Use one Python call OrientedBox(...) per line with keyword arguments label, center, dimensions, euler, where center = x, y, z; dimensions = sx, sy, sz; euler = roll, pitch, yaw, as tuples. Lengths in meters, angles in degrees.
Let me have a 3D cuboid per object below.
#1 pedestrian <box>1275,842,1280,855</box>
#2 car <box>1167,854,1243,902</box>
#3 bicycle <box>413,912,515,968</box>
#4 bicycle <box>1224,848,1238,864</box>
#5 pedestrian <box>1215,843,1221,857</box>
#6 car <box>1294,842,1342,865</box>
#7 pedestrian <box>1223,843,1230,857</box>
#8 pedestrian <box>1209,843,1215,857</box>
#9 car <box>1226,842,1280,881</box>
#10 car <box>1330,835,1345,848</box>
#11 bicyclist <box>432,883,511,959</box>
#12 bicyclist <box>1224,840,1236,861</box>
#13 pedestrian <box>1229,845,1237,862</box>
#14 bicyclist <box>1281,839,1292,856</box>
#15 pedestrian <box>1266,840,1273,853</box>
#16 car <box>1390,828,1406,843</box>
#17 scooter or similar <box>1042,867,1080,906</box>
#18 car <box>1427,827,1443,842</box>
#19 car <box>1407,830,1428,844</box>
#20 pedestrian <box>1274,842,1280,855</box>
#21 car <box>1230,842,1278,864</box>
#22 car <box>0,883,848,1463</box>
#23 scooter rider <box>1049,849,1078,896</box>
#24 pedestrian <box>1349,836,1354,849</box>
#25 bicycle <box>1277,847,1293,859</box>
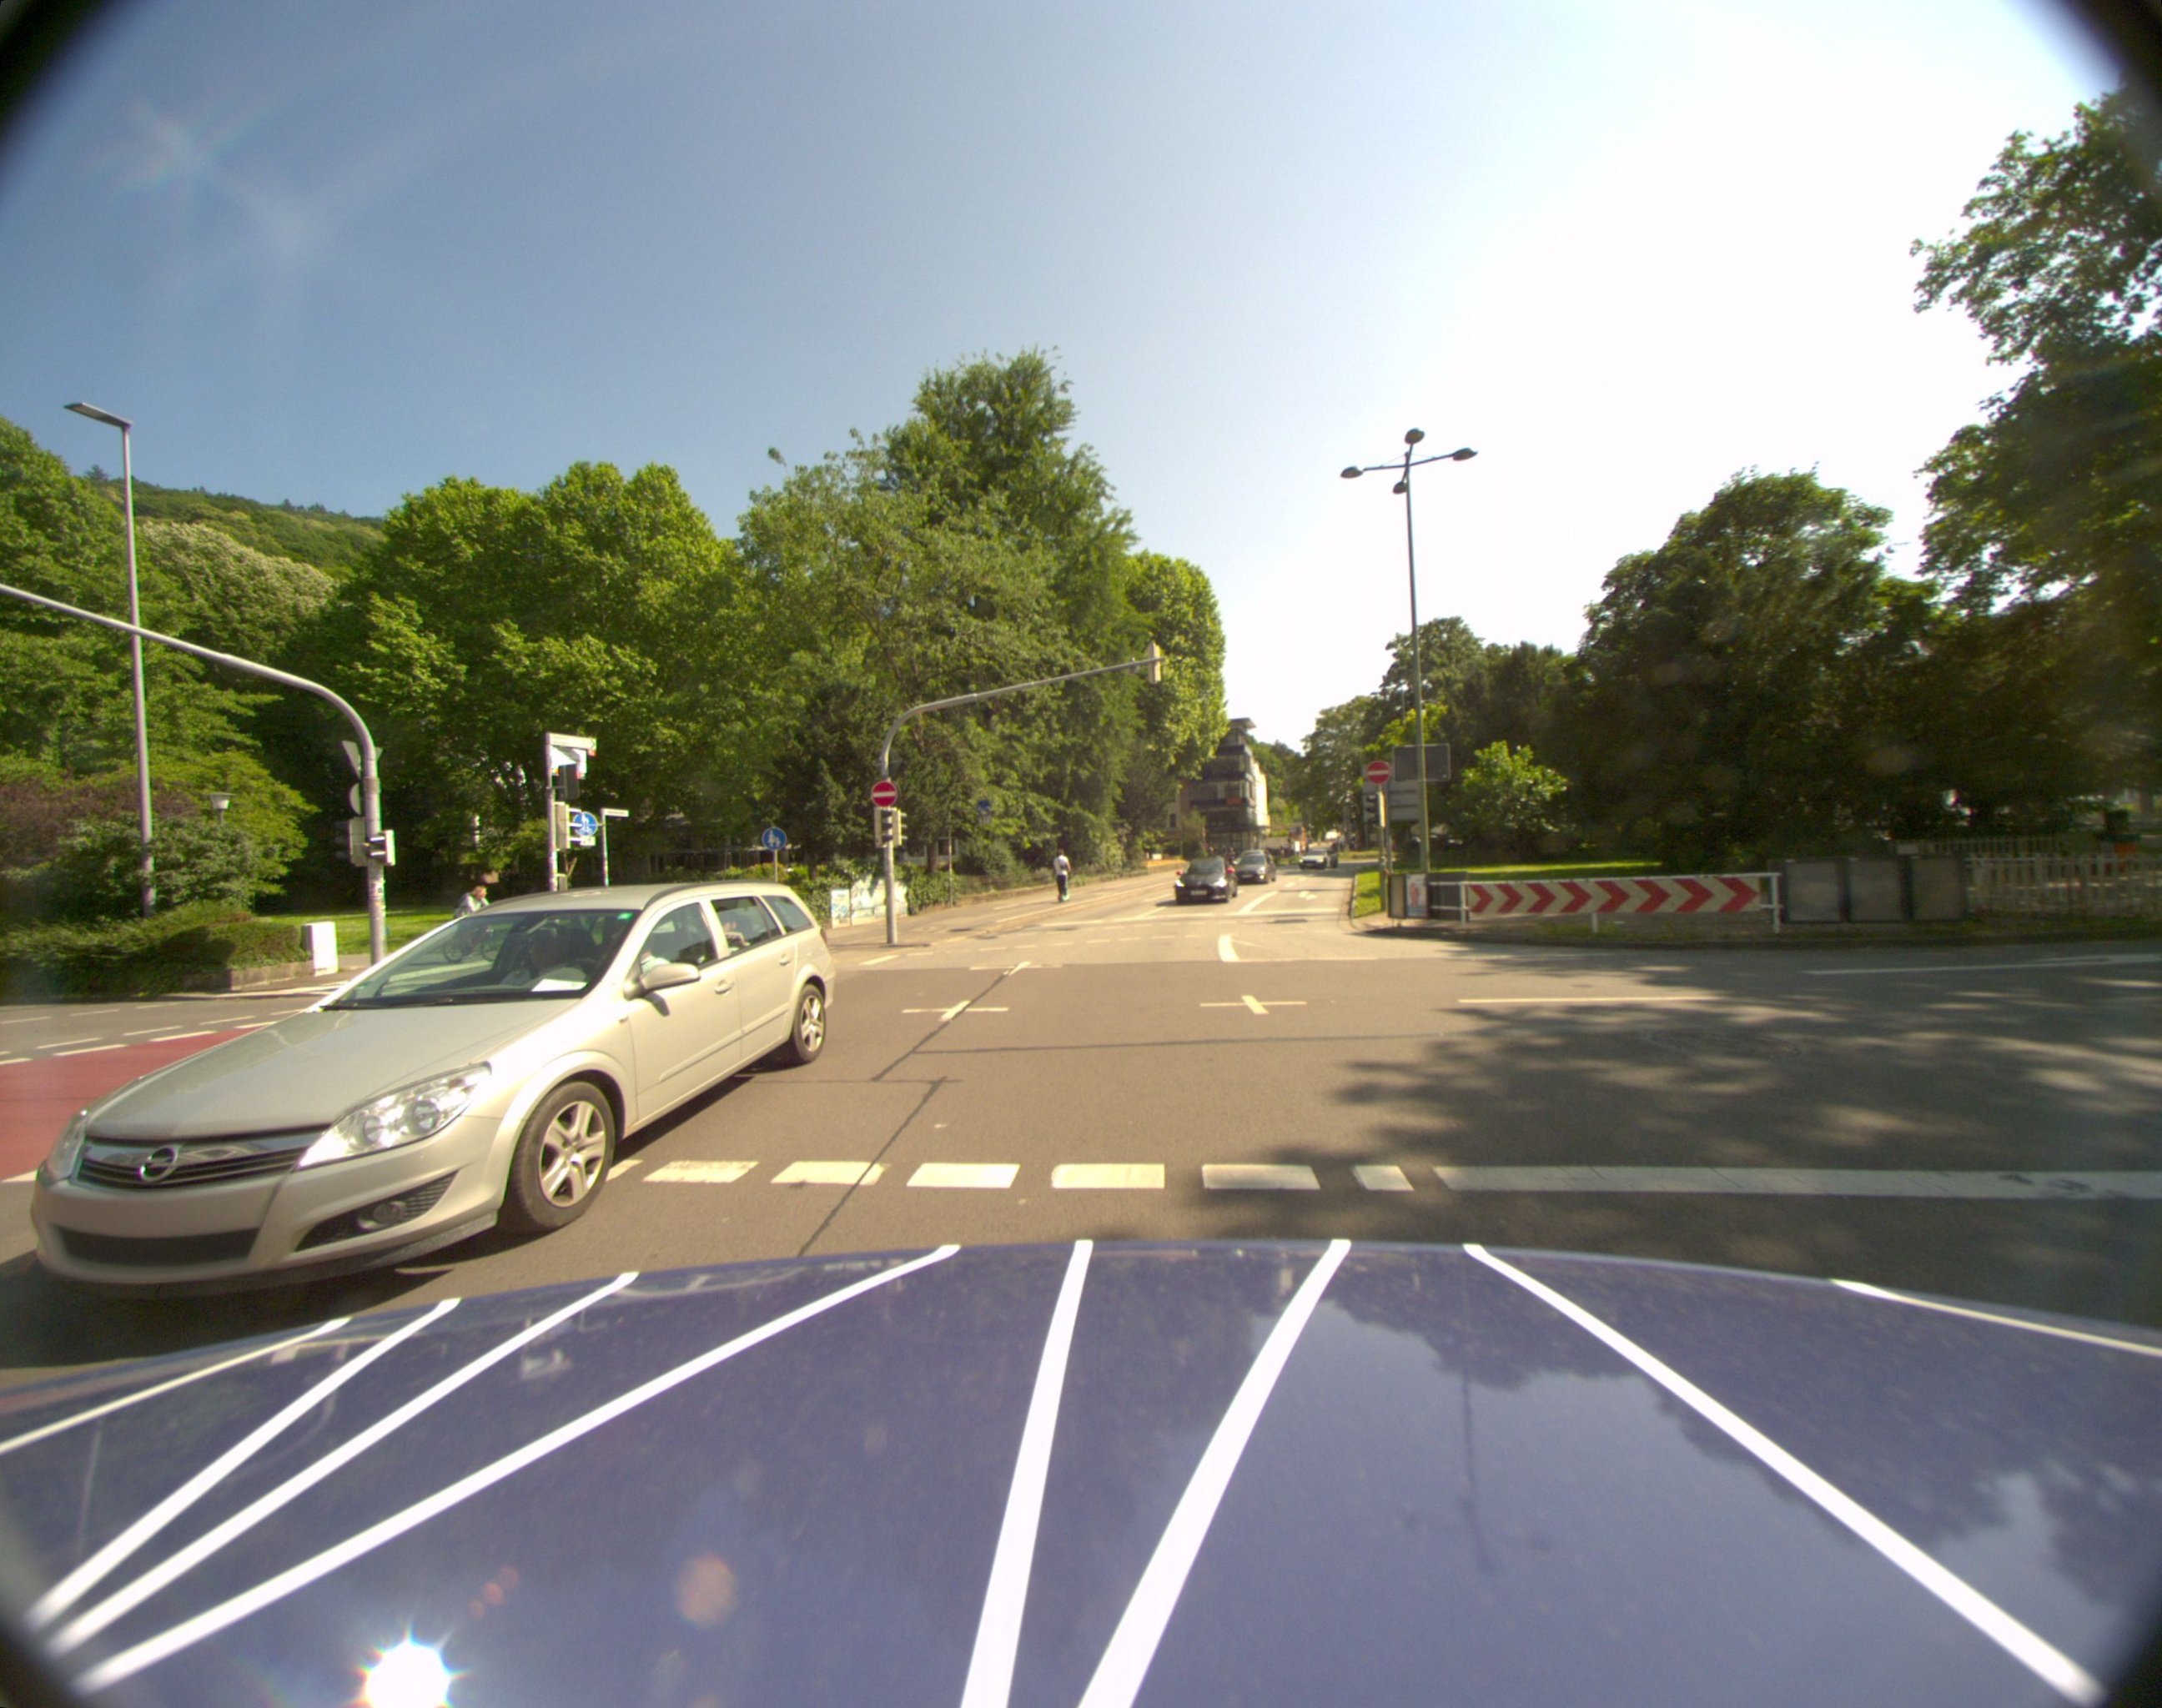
OrientedBox(label="pedestrian", center=(27.553, -0.756, 106.409), dimensions=(0.601, 1.695, 0.605), euler=(-2, 1, 20))
OrientedBox(label="car", center=(4.411, 0.782, 26.481), dimensions=(1.808, 1.443, 3.959), euler=(-2, 1, 21))
OrientedBox(label="bicycle", center=(-13.594, 1.896, 16.761), dimensions=(1.675, 1.114, 0.784), euler=(-2, 1, 10))
OrientedBox(label="bicycle", center=(11.790, 0.142, 59.610), dimensions=(0.758, 1.114, 2.004), euler=(-2, 2, 19))
OrientedBox(label="pedestrian", center=(17.140, -0.461, 95.193), dimensions=(0.603, 1.695, 0.691), euler=(-2, 1, 20))
OrientedBox(label="car", center=(16.946, -0.045, 54.217), dimensions=(1.937, 1.421, 4.558), euler=(-2, 0, 35))
OrientedBox(label="pedestrian", center=(17.899, -0.542, 93.350), dimensions=(0.700, 1.695, 0.603), euler=(-3, 1, 19))
OrientedBox(label="pedestrian", center=(16.156, -0.542, 93.776), dimensions=(0.652, 1.695, 0.647), euler=(-3, 1, 13))
OrientedBox(label="car", center=(8.547, 0.326, 37.491), dimensions=(1.886, 1.674, 4.147), euler=(-1, 2, 22))
OrientedBox(label="car", center=(35.987, -1.734, 106.691), dimensions=(1.848, 1.777, 4.005), euler=(-3, 0, 19))
OrientedBox(label="bicyclist", center=(-13.465, 1.474, 16.805), dimensions=(0.942, 1.566, 0.868), euler=(-2, 2, 8))
OrientedBox(label="bicyclist", center=(11.691, -0.278, 59.431), dimensions=(0.765, 1.627, 0.944), euler=(-2, 2, 18))
OrientedBox(label="pedestrian", center=(15.495, -0.058, 77.597), dimensions=(0.710, 1.663, 0.535), euler=(-2, 1, 17))
OrientedBox(label="bicyclist", center=(19.834, -0.637, 73.389), dimensions=(0.709, 1.603, 0.733), euler=(-2, 1, 37))
OrientedBox(label="pedestrian", center=(24.387, -0.933, 98.357), dimensions=(0.601, 1.695, 0.605), euler=(-3, 1, 25))
OrientedBox(label="car", center=(43.616, -2.519, 104.559), dimensions=(1.847, 2.002, 4.006), euler=(-2, 1, 23))
OrientedBox(label="scooter or similar", center=(-0.709, 1.169, 27.719), dimensions=(0.819, 1.291, 1.698), euler=(-2, 1, 18))
OrientedBox(label="car", center=(48.615, -2.698, 104.324), dimensions=(1.847, 2.002, 4.006), euler=(-2, 1, 23))
OrientedBox(label="car", center=(41.880, -2.079, 94.547), dimensions=(1.848, 1.652, 4.004), euler=(-2, 1, 17))
OrientedBox(label="pedestrian", center=(26.743, -0.719, 103.669), dimensions=(0.601, 1.695, 0.605), euler=(-2, 1, 20))
OrientedBox(label="car", center=(12.202, -0.097, 53.366), dimensions=(1.938, 1.421, 4.557), euler=(-2, 0, 31))
OrientedBox(label="car", center=(-3.000, 1.037, 4.428), dimensions=(1.711, 1.513, 4.407), euler=(-3, 0, 2))
OrientedBox(label="scooter rider", center=(-0.649, 0.679, 27.970), dimensions=(0.822, 1.662, 0.710), euler=(-2, 2, 18))
OrientedBox(label="pedestrian", center=(38.146, -1.629, 107.216), dimensions=(0.601, 1.695, 0.605), euler=(-2, 1, 27))
OrientedBox(label="bicycle", center=(19.722, -0.128, 73.417), dimensions=(0.709, 1.048, 2.211), euler=(-2, 1, 37))
